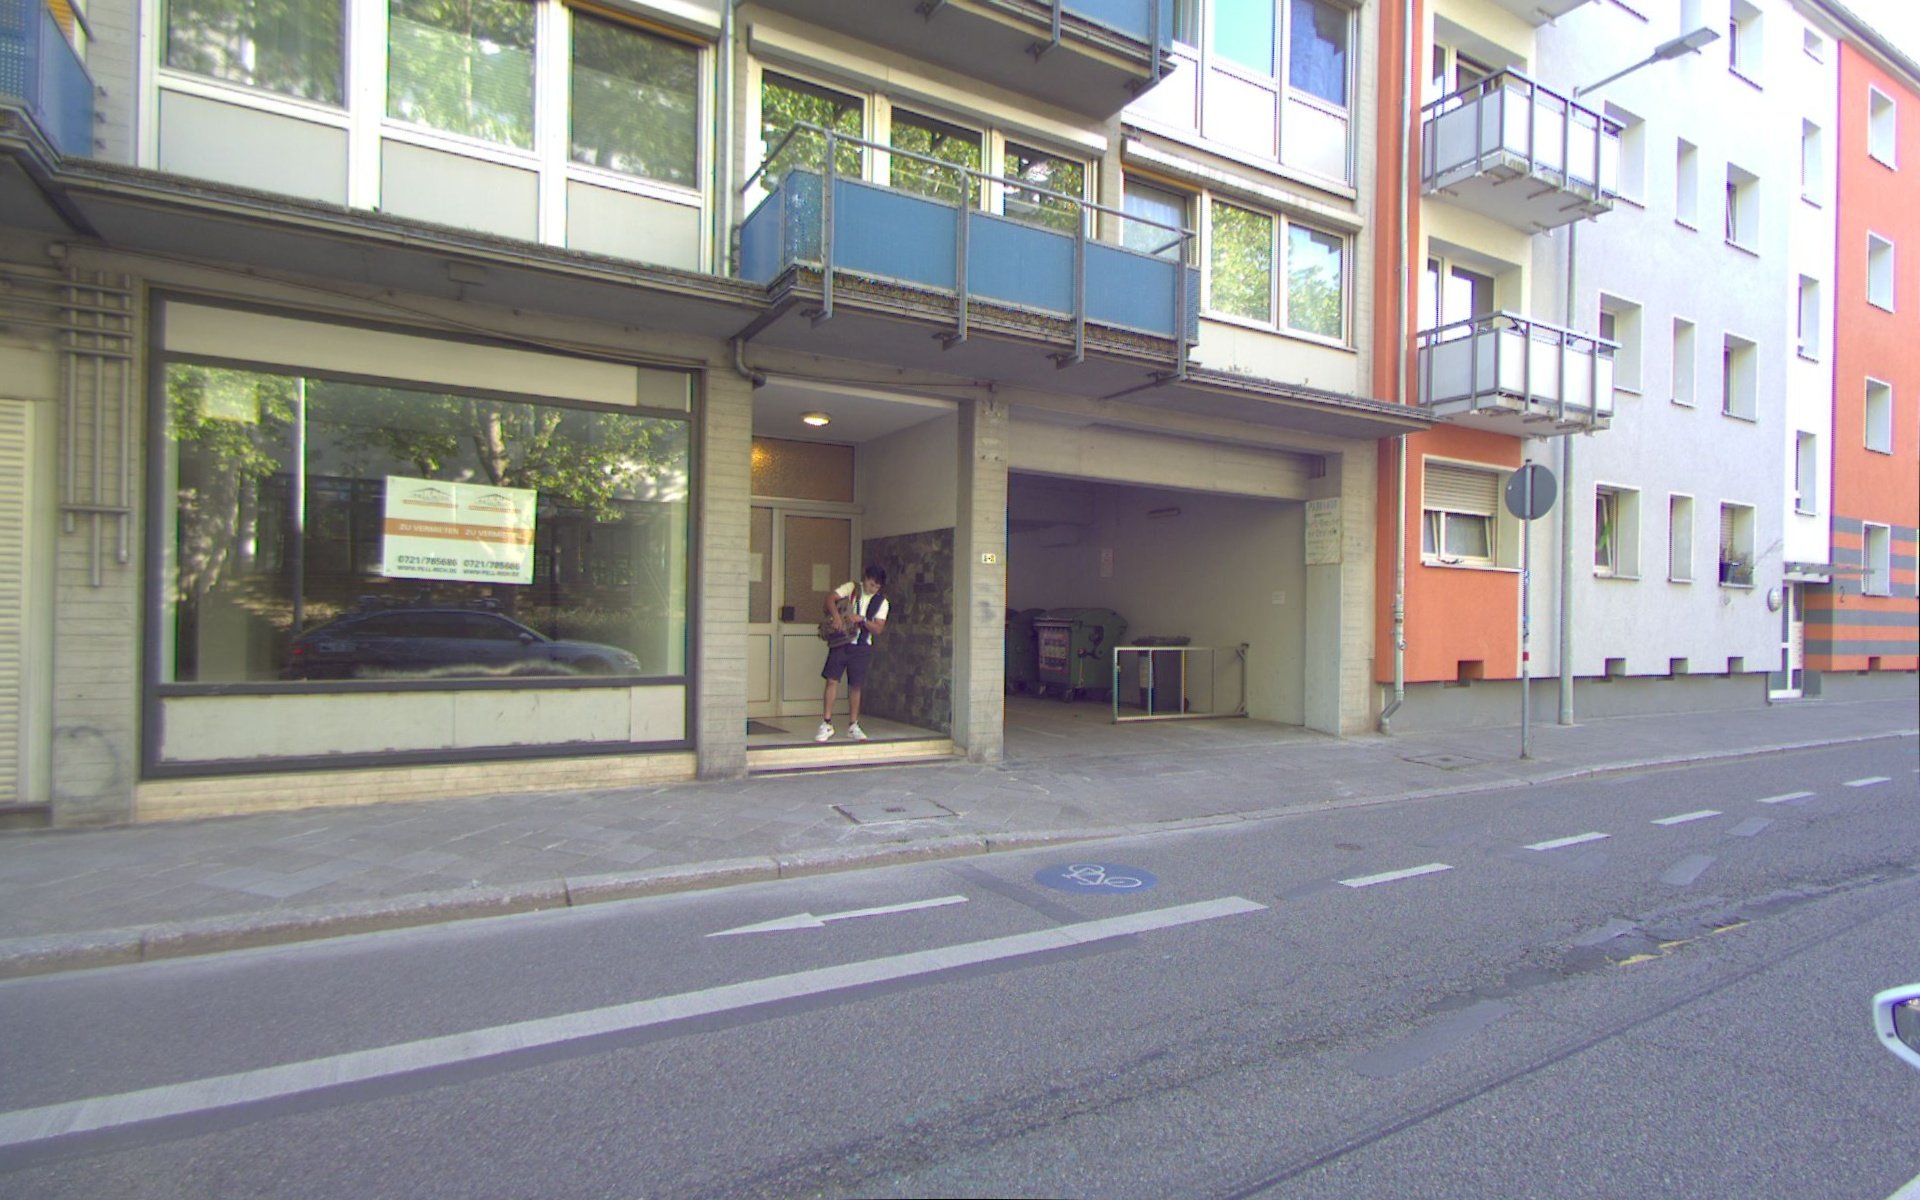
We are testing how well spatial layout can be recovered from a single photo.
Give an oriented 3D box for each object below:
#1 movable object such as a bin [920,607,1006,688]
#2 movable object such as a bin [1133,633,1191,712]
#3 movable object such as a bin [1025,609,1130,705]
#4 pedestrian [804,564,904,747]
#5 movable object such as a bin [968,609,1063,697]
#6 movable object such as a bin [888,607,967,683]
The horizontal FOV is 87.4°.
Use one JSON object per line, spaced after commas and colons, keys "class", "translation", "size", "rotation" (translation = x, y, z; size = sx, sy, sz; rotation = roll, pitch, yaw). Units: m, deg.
{"class": "movable object such as a bin", "translation": [0.044, 0.856, 18.621], "size": [1.067, 1.433, 1.312], "rotation": [1, -1, -30]}
{"class": "movable object such as a bin", "translation": [2.906, 1.030, 14.437], "size": [0.646, 1.102, 0.487], "rotation": [1, 0, -30]}
{"class": "movable object such as a bin", "translation": [1.827, 0.864, 15.782], "size": [1.067, 1.433, 1.312], "rotation": [1, -1, -30]}
{"class": "pedestrian", "translation": [-0.969, 0.494, 9.191], "size": [0.747, 1.600, 0.511], "rotation": [1, 0, -30]}
{"class": "movable object such as a bin", "translation": [0.933, 0.877, 17.165], "size": [1.067, 1.433, 1.312], "rotation": [1, -1, -30]}
{"class": "movable object such as a bin", "translation": [-0.648, 0.872, 19.824], "size": [1.067, 1.433, 1.312], "rotation": [1, -1, -30]}
